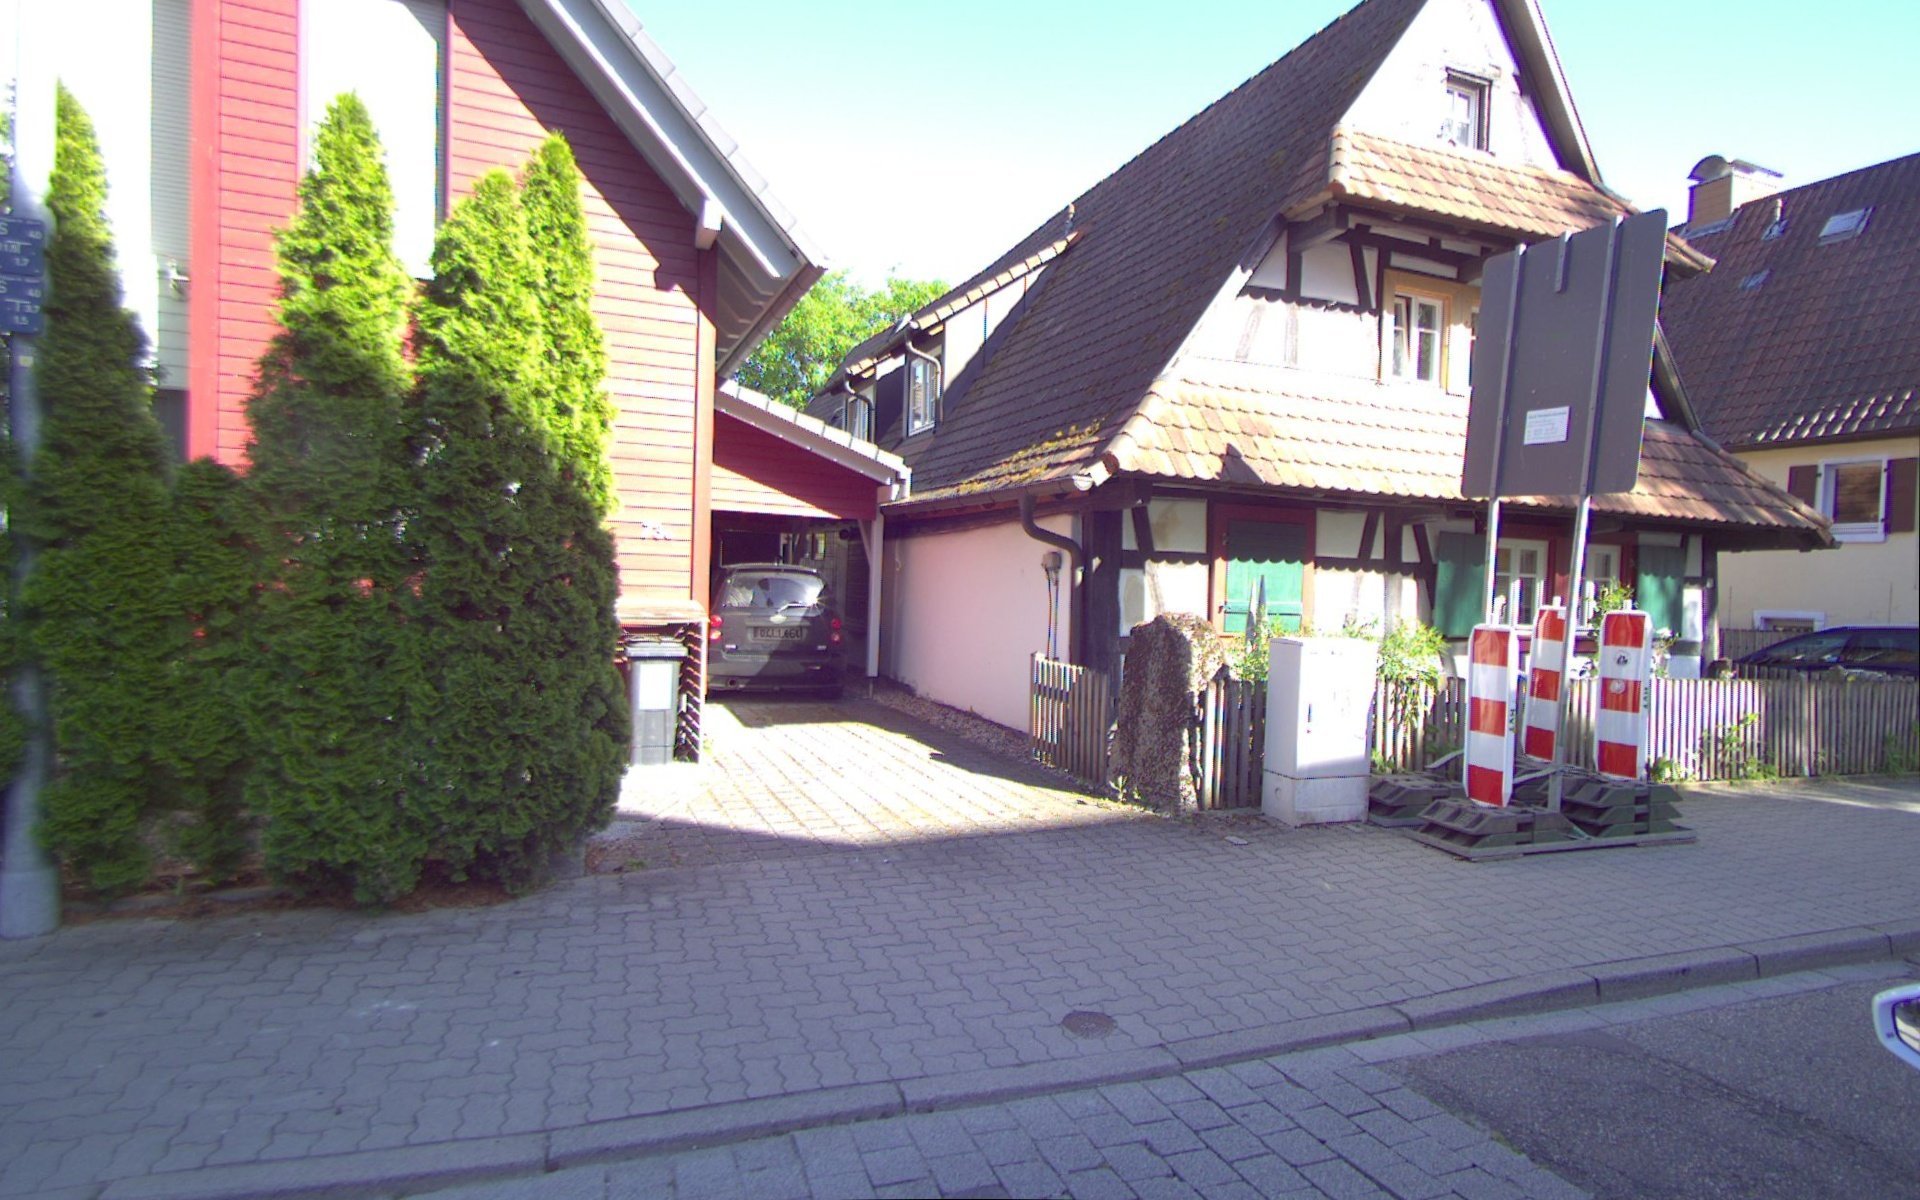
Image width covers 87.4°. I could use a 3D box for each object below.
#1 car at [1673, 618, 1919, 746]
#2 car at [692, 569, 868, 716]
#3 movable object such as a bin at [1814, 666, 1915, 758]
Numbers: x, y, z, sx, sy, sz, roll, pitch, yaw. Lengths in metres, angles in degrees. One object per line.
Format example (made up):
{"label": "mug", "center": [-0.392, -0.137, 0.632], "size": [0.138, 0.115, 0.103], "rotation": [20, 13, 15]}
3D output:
{"label": "car", "center": [11.856, 0.996, 12.824], "size": [1.823, 1.481, 4.146], "rotation": [1, -1, -25]}
{"label": "car", "center": [-2.405, 0.392, 12.595], "size": [1.787, 1.522, 3.986], "rotation": [1, 2, -16]}
{"label": "movable object such as a bin", "center": [9.590, 1.171, 10.661], "size": [0.544, 0.909, 0.585], "rotation": [1, -1, 0]}
